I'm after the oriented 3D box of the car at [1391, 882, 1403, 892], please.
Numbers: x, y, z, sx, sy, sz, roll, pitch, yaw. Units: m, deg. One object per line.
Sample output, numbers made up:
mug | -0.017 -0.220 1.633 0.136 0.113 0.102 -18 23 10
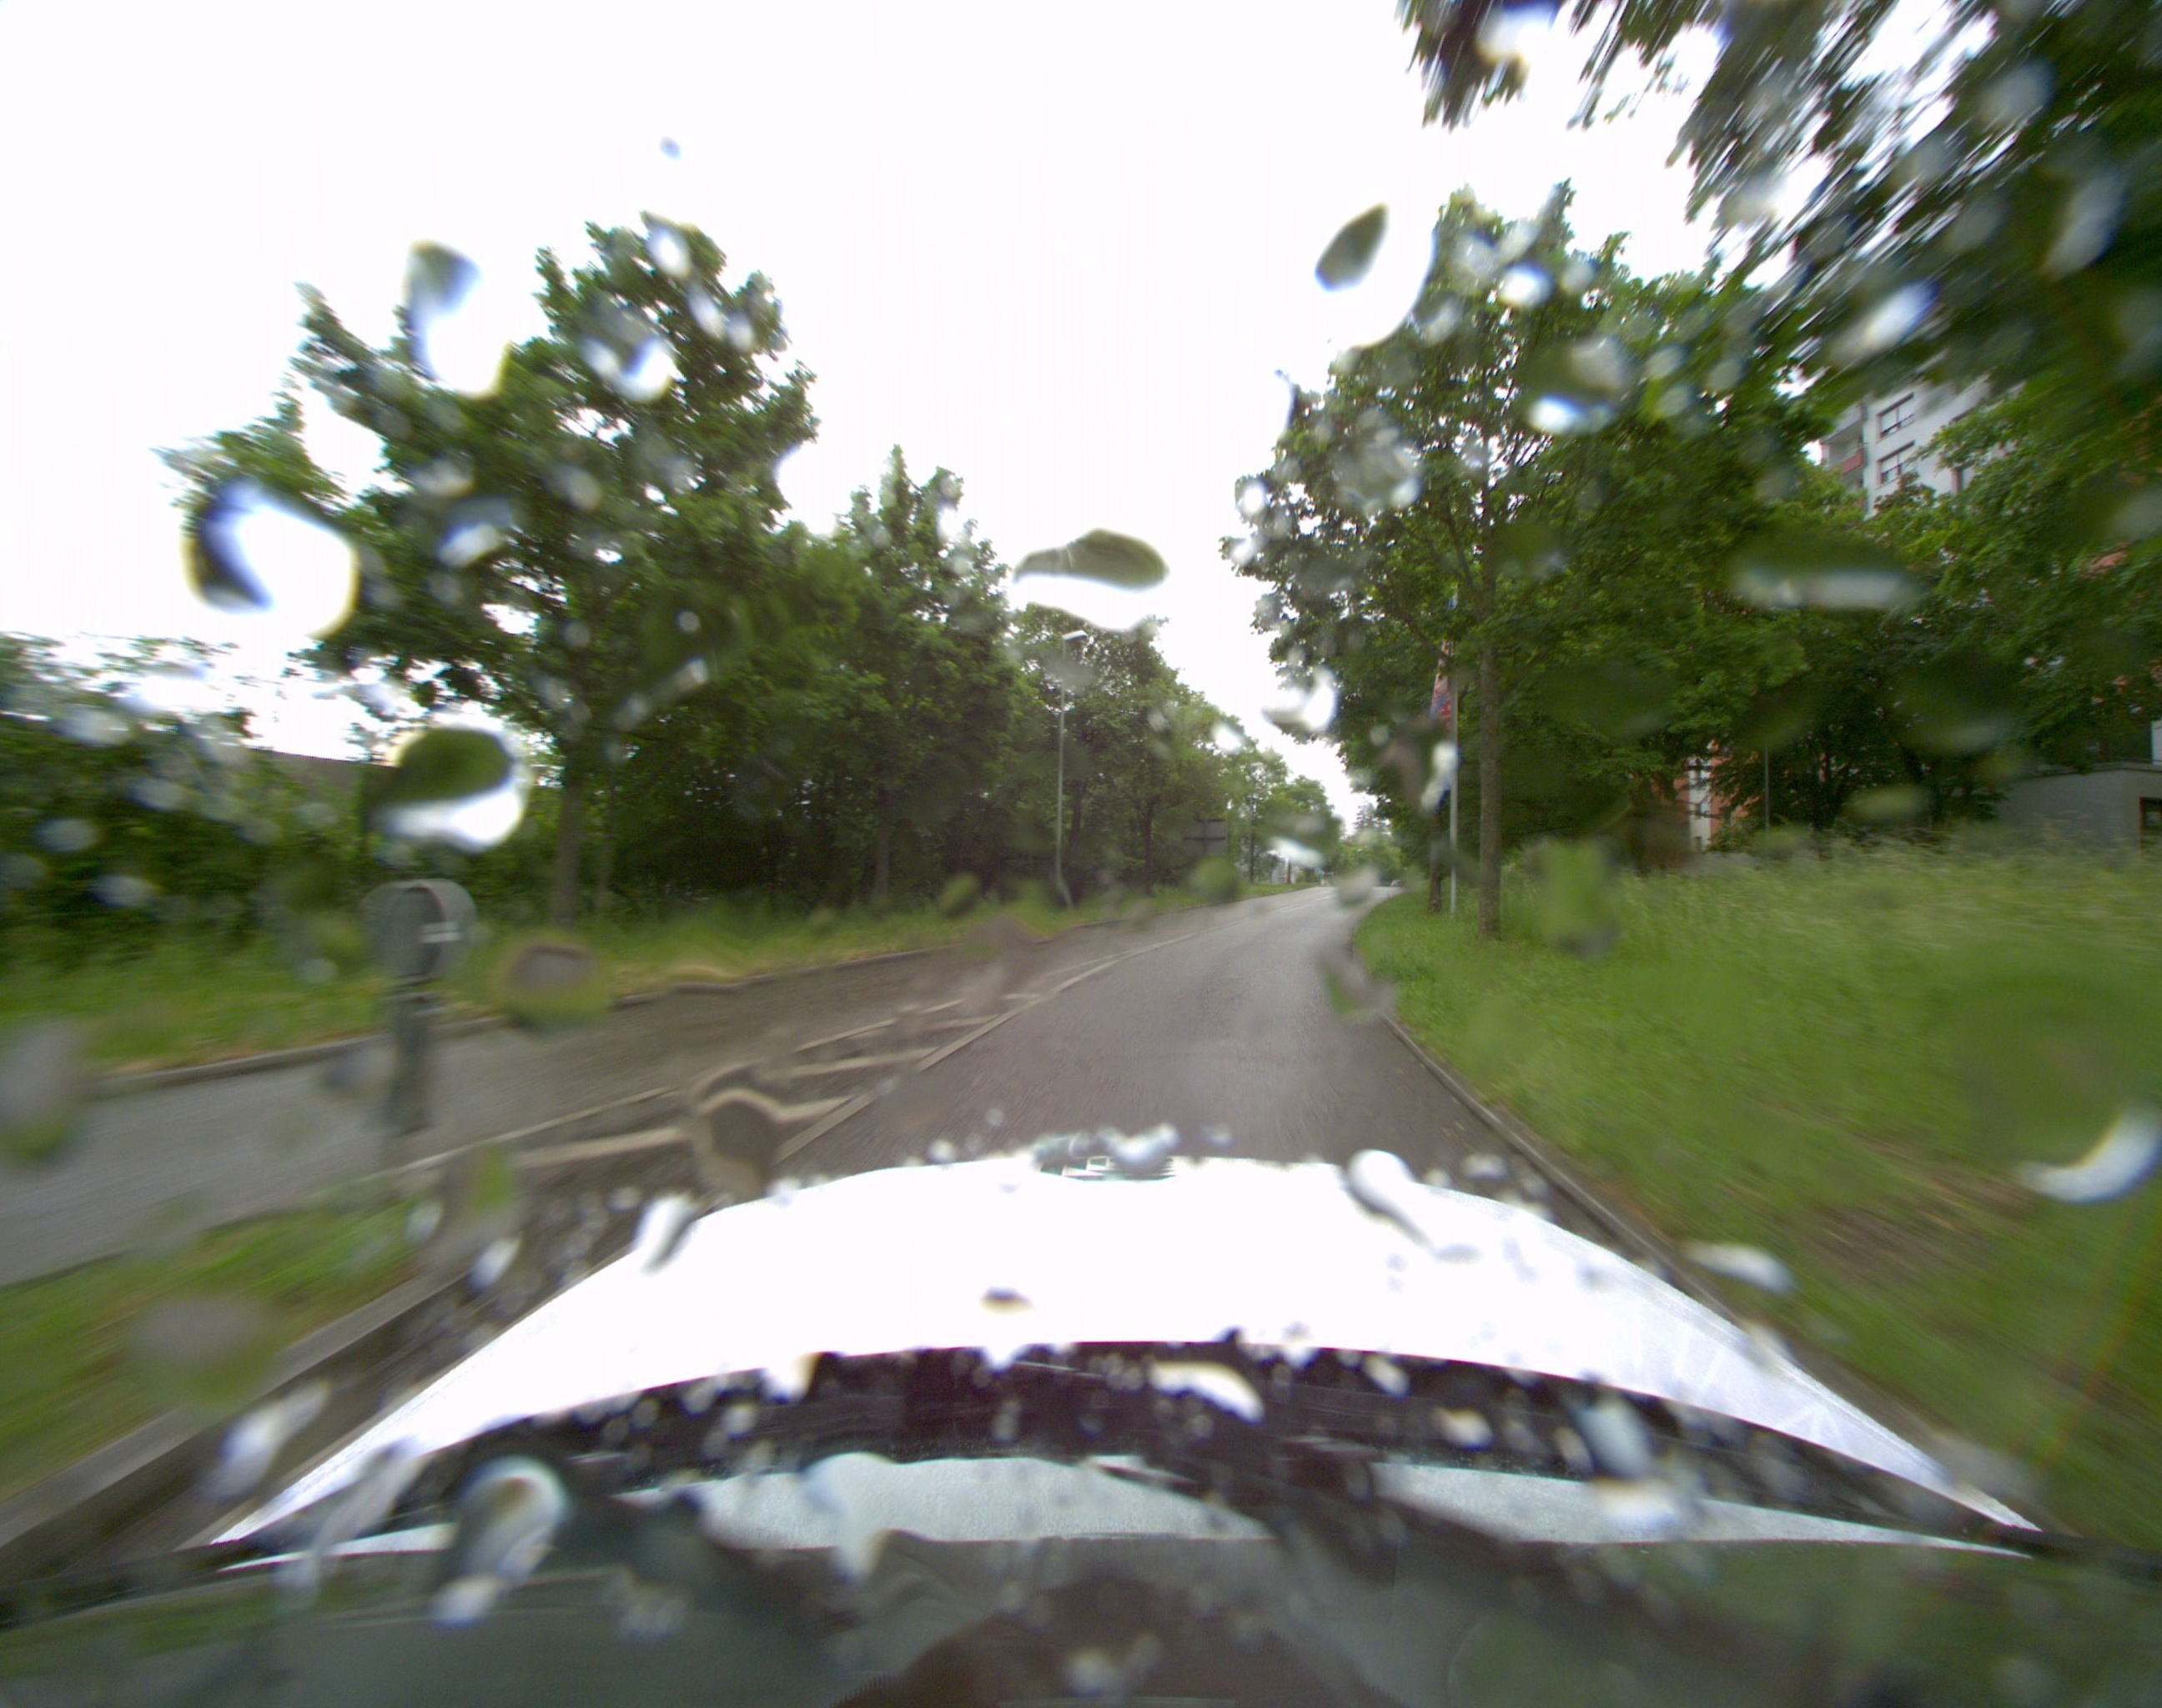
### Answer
car | 52.318 5.507 134.769 1.846 1.666 4.020 -1 -3 22
